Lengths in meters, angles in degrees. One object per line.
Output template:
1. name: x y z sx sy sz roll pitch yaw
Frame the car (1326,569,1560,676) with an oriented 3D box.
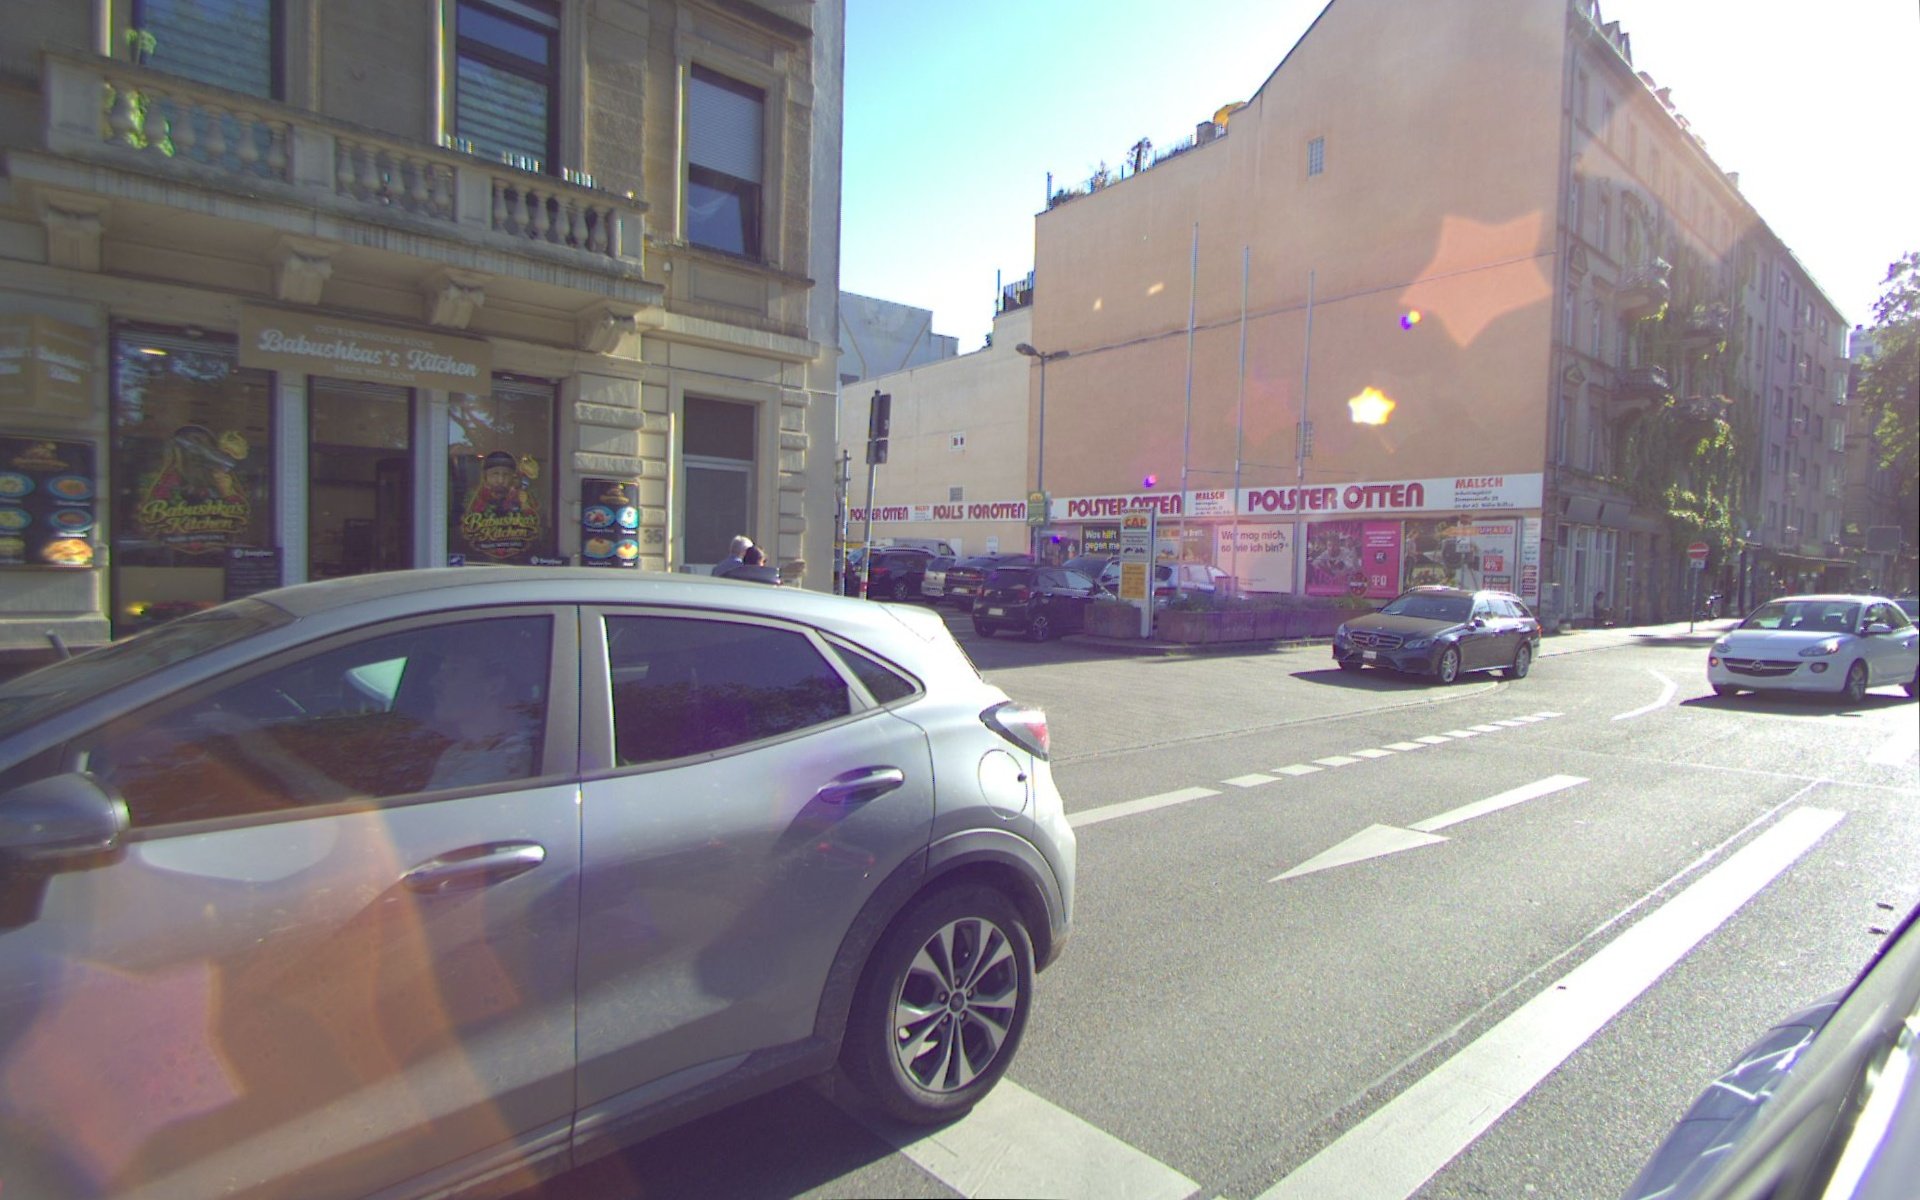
1. car: 8.468 0.307 17.549 4.650 1.504 1.838 -1 5 -40

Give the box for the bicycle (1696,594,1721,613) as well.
1. bicycle: 30.010 0.147 40.560 1.486 0.714 0.469 0 2 -41

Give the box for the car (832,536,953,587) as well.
1. car: -2.246 -1.278 34.144 3.871 1.600 1.659 -1 3 -42

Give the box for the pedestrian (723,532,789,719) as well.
1. pedestrian: -1.960 0.220 9.683 0.381 1.729 0.551 0 3 -37

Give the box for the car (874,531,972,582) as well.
1. car: -1.884 -2.213 51.874 4.787 2.441 1.713 0 3 -32

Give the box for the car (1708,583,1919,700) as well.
1. car: 12.766 0.509 14.754 3.706 1.472 1.610 -1 1 -29

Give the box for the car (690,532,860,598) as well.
1. car: -5.036 -0.957 27.859 4.306 1.686 1.758 -1 3 -41

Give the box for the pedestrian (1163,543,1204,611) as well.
1. pedestrian: 6.866 -0.724 31.068 0.907 2.038 0.818 0 2 -40

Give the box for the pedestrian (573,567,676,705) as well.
1. pedestrian: -3.412 0.330 10.275 0.901 1.297 0.645 4 3 45

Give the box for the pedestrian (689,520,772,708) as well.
1. pedestrian: -2.337 0.115 10.281 0.521 1.828 0.674 0 4 -41

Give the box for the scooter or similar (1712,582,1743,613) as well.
1. scooter or similar: 31.964 -0.115 42.172 0.631 1.188 1.720 2 2 25

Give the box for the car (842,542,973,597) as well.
1. car: -1.563 -0.933 30.825 3.871 1.563 1.544 -1 3 -42

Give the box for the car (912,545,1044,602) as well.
1. car: 0.582 -0.780 29.860 3.871 1.563 1.544 -1 3 -42

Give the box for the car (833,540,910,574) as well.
1. car: -4.953 -2.408 56.742 3.967 1.823 1.664 0 3 -30

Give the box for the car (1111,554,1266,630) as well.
1. car: 5.527 -0.230 24.227 3.935 1.665 1.746 -1 3 -45

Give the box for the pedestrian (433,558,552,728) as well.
1. pedestrian: -4.322 0.360 9.327 1.015 1.388 0.645 9 7 44

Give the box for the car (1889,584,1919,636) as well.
1. car: 29.442 0.266 30.638 3.933 1.536 1.642 -1 0 -43

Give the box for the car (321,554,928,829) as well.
1. car: -2.285 0.468 7.479 3.934 1.432 1.567 -1 6 -41

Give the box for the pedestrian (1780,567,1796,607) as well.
1. pedestrian: 39.311 -0.616 48.052 0.507 1.855 0.469 0 2 -41

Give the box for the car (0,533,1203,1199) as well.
1. car: -1.328 0.649 2.599 4.307 1.547 1.700 -1 2 -43

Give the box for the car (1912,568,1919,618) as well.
1. car: 36.469 -0.233 37.056 3.930 1.785 1.868 -1 3 -40

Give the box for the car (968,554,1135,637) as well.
1. car: 1.900 -0.120 20.446 3.339 1.504 1.559 0 3 -45

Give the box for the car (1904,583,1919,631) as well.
1. car: 32.689 0.196 33.570 3.932 1.536 1.740 -1 0 -43
